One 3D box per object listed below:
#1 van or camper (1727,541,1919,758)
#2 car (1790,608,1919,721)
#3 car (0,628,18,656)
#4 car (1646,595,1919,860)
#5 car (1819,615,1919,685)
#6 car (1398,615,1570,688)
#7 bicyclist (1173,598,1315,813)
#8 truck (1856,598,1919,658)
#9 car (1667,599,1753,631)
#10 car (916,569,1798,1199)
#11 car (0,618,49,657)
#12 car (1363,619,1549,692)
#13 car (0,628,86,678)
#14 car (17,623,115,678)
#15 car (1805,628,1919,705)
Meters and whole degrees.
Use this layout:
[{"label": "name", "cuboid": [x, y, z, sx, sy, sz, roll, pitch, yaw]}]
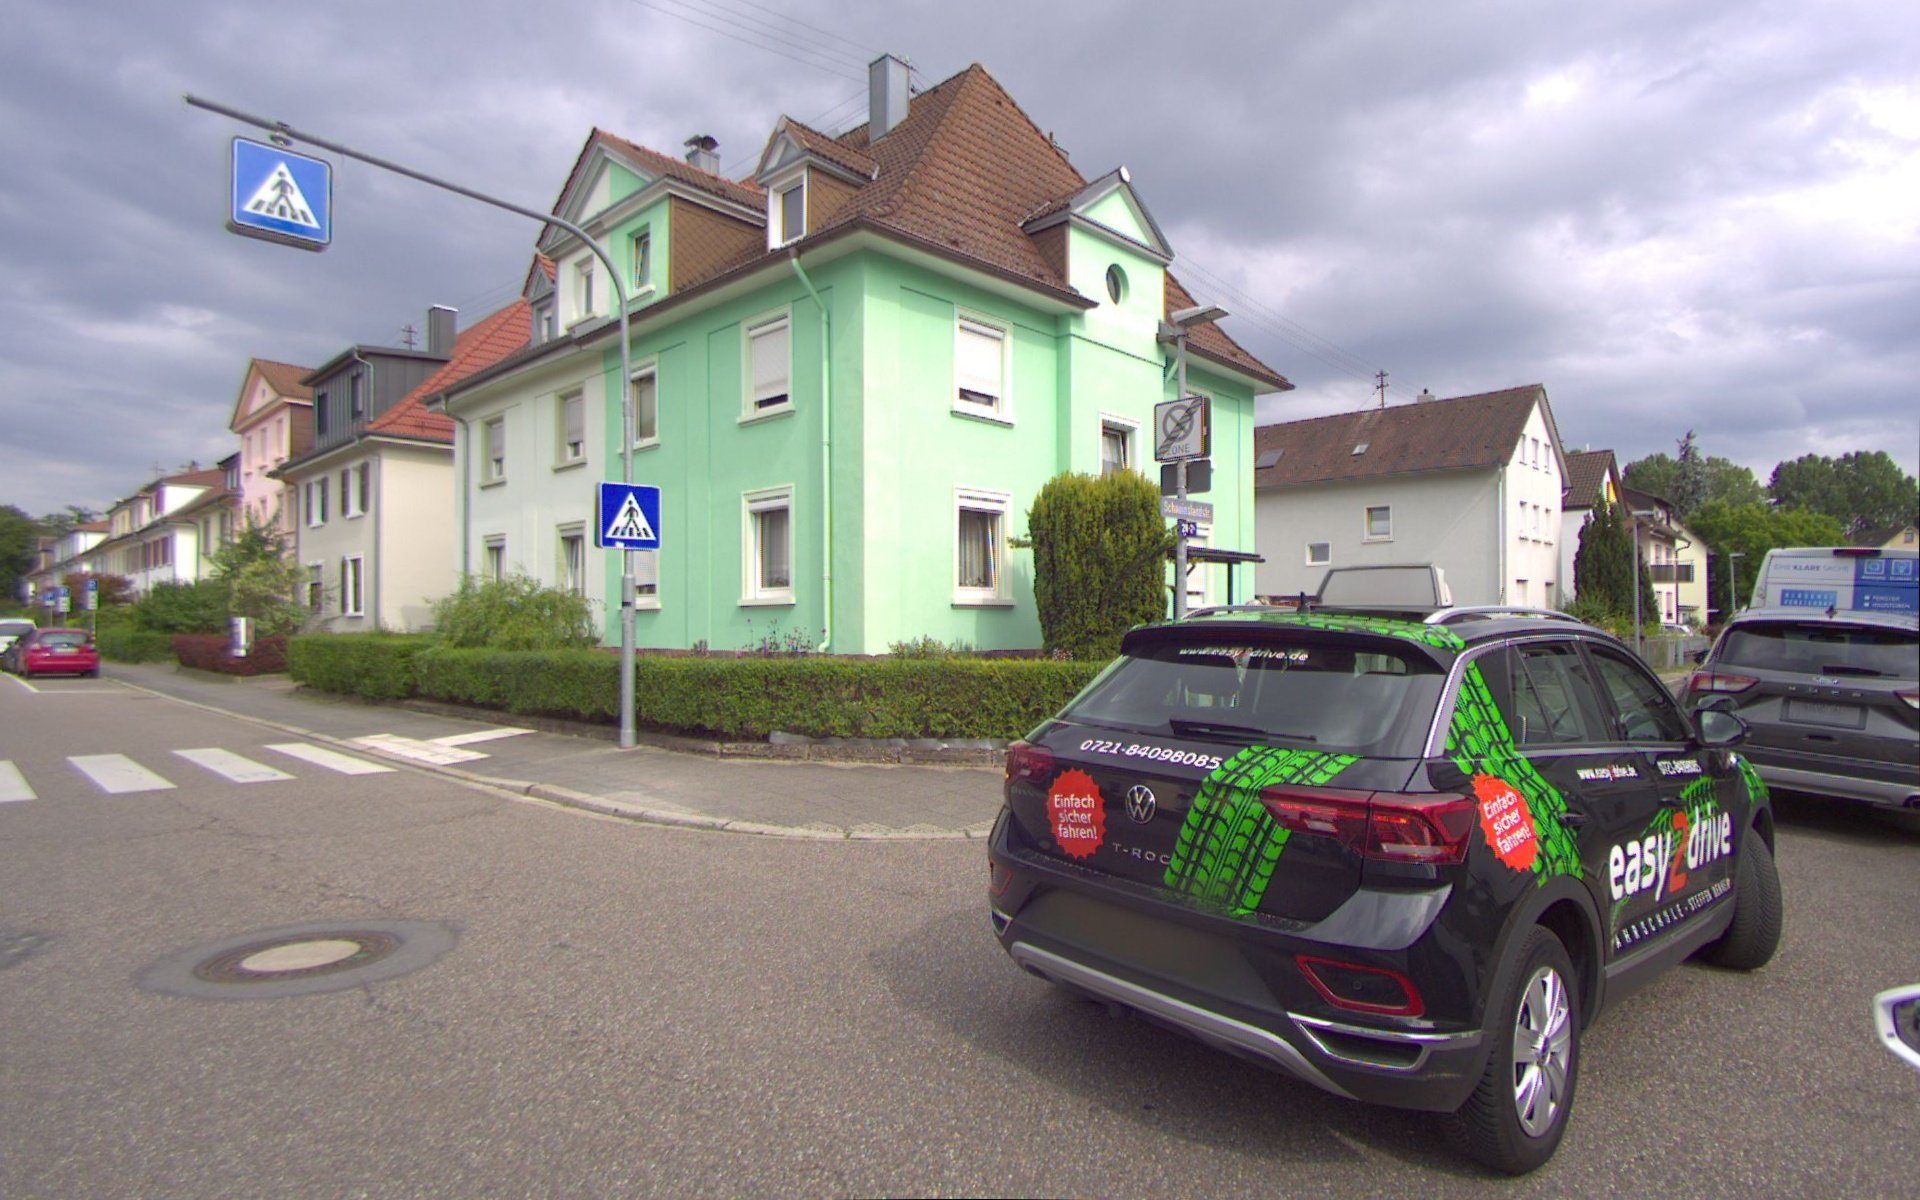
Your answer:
[{"label": "van or camper", "cuboid": [12.222, 0.611, 13.839, 2.168, 2.491, 5.026, -1, -1, 43]}, {"label": "car", "cuboid": [16.277, 1.070, 18.080, 1.971, 1.795, 4.320, -1, -1, 41]}, {"label": "car", "cuboid": [-58.333, 2.522, 60.616, 3.945, 1.595, 1.988, -1, -2, 44]}, {"label": "car", "cuboid": [7.347, 0.875, 8.597, 1.971, 1.749, 4.320, -1, -1, 41]}, {"label": "car", "cuboid": [25.086, 1.317, 27.811, 1.971, 1.772, 4.320, -1, -1, 41]}, {"label": "car", "cuboid": [12.955, 1.241, 24.933, 3.529, 1.689, 1.580, -1, -2, 40]}, {"label": "bicyclist", "cuboid": [2.391, 0.835, 8.457, 0.965, 1.688, 0.692, 0, 0, -35]}, {"label": "truck", "cuboid": [43.943, 1.299, 47.619, 2.106, 2.692, 4.561, -1, -1, 41]}, {"label": "car", "cuboid": [44.171, 0.894, 59.197, 3.941, 1.795, 1.861, -1, -3, 41]}, {"label": "car", "cuboid": [1.937, 0.769, 4.142, 4.013, 1.540, 1.800, 2, -2, -42]}, {"label": "car", "cuboid": [-47.690, 1.868, 50.896, 3.945, 1.929, 1.988, -1, -2, 44]}, {"label": "car", "cuboid": [11.205, 1.219, 22.794, 3.529, 1.520, 1.580, -1, -2, 40]}, {"label": "car", "cuboid": [-31.781, 1.778, 34.760, 3.945, 1.595, 1.988, -1, -2, 44]}, {"label": "car", "cuboid": [-27.922, 1.525, 31.343, 3.945, 1.595, 1.988, -1, -2, 44]}, {"label": "car", "cuboid": [19.658, 1.355, 21.805, 1.971, 1.475, 4.320, -1, -1, 41]}]
